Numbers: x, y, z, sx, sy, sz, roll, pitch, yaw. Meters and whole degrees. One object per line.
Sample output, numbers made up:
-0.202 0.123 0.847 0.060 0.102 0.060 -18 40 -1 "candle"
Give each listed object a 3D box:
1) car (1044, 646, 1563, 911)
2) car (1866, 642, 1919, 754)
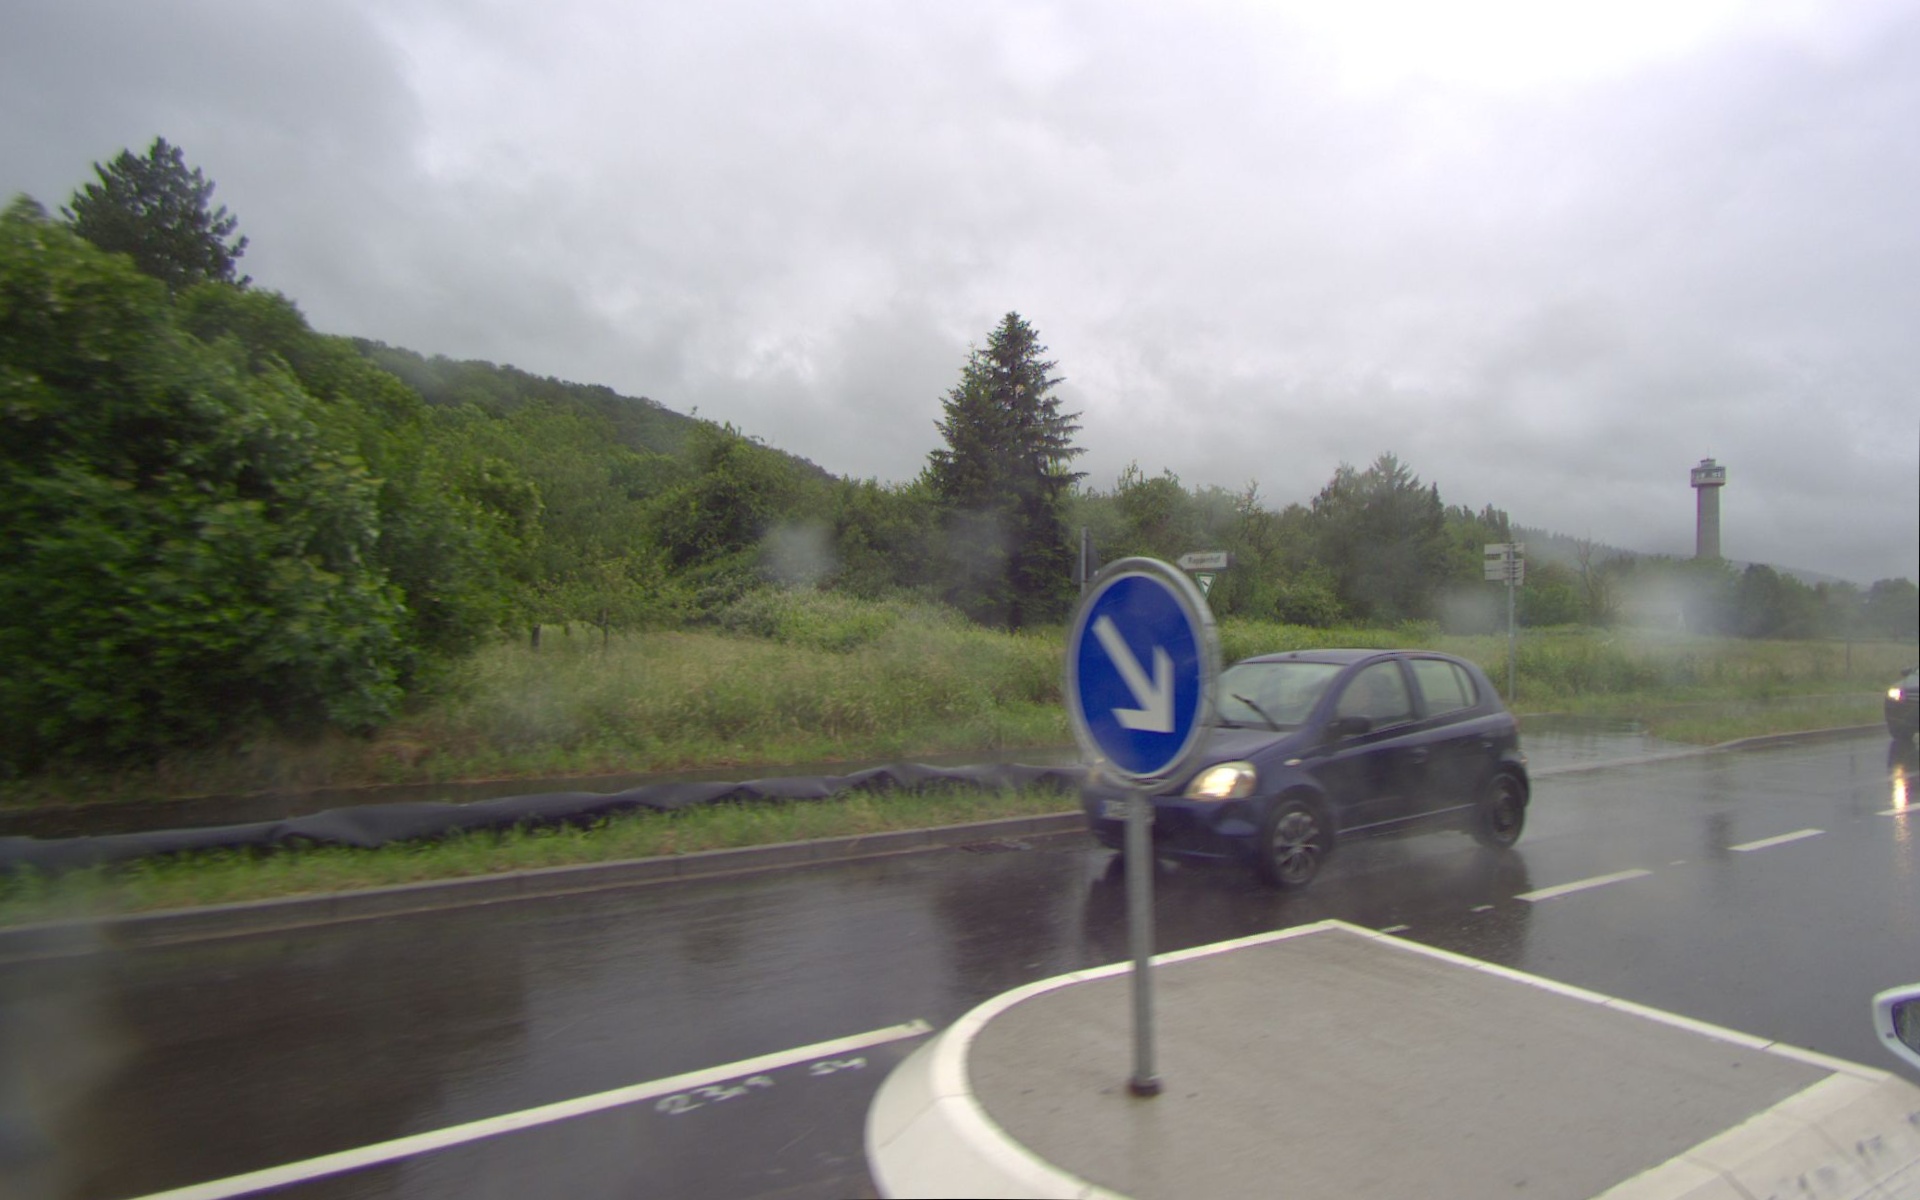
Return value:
2.603 1.109 7.455 3.642 1.464 1.732 1 -4 -32 "car"
16.868 1.542 16.522 4.218 1.740 1.733 1 -3 -31 "car"
